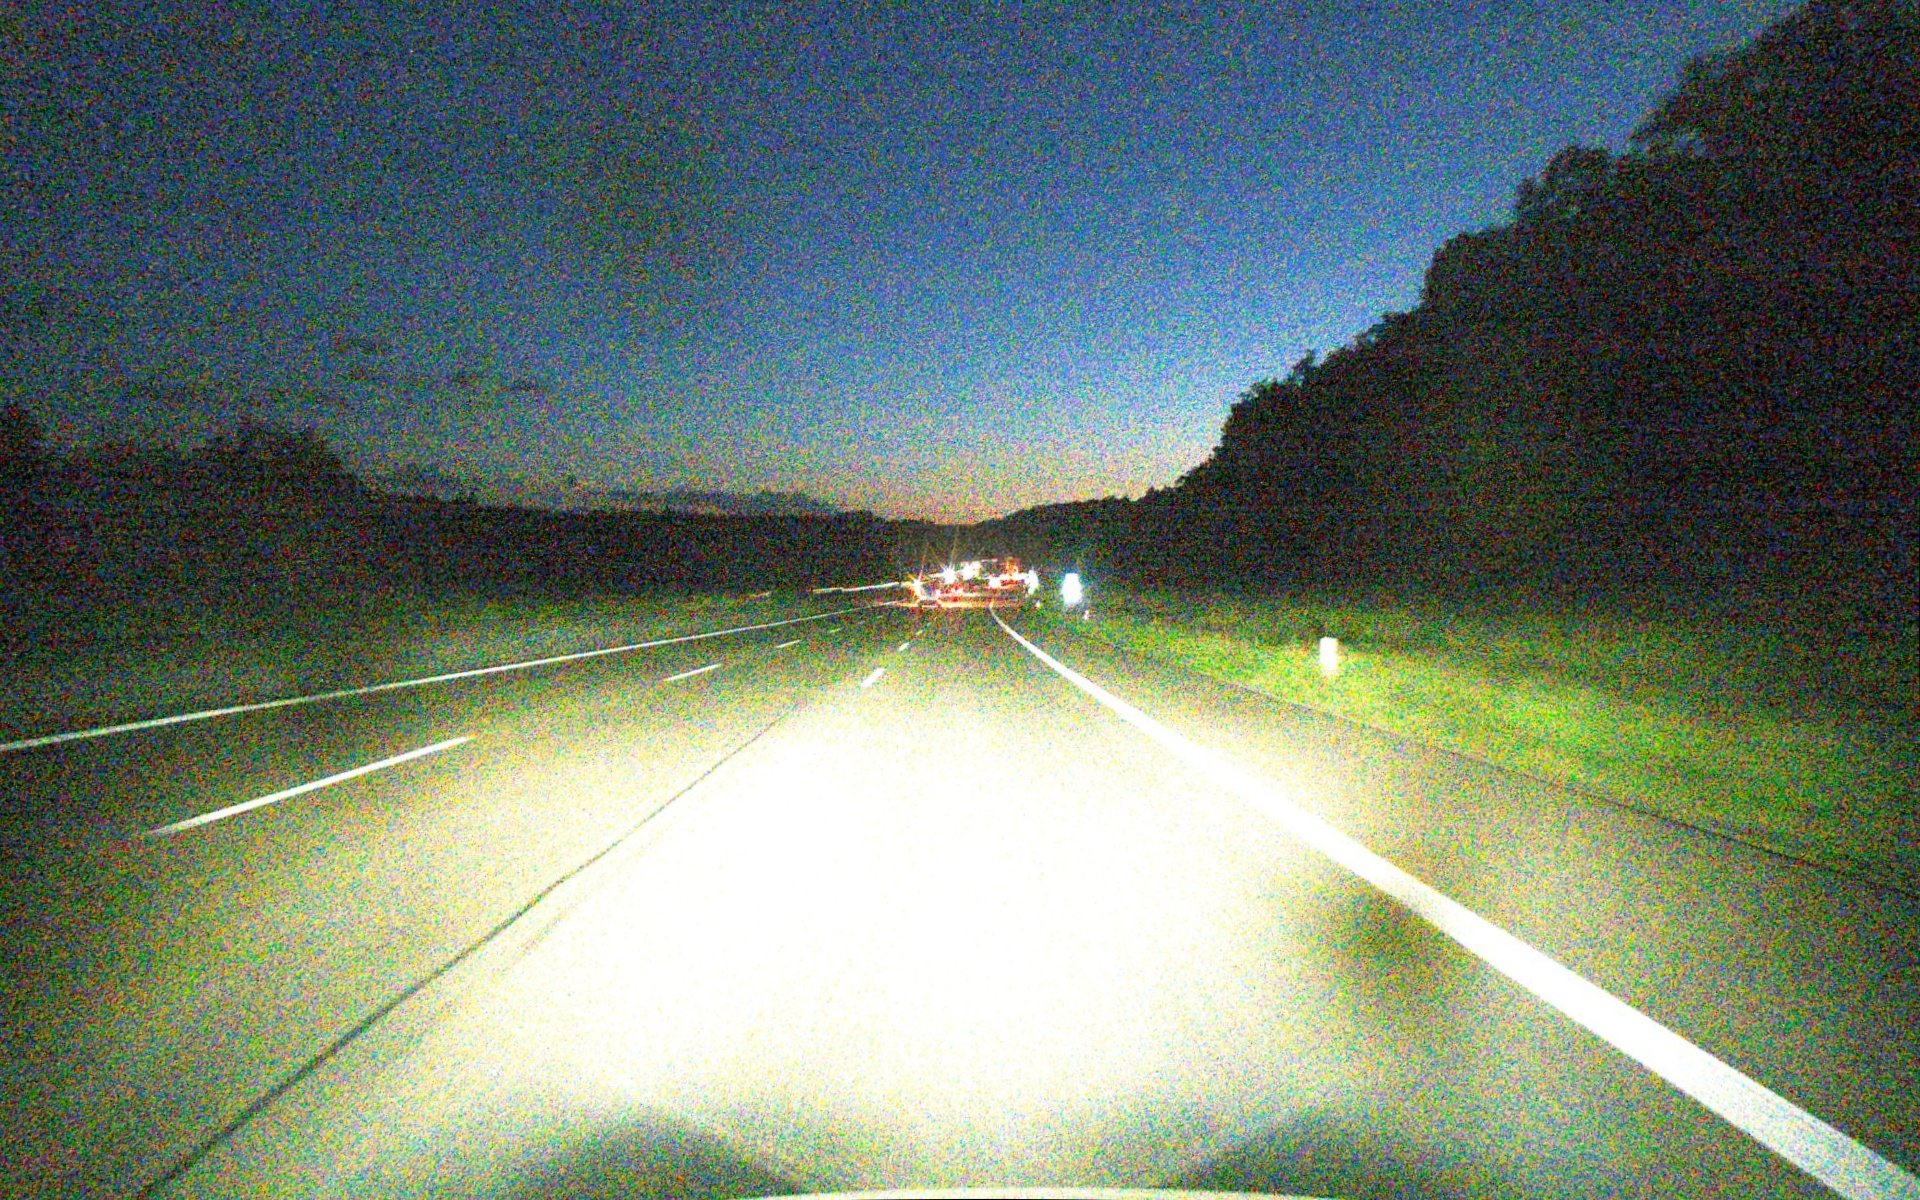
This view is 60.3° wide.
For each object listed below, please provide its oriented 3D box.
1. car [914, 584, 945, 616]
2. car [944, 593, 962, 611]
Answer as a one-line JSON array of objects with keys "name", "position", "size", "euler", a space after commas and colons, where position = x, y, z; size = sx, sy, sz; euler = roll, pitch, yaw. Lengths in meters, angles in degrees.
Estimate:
[{"name": "car", "position": [-2.689, 0.017, 149.052], "size": [2.730, 2.781, 6.298], "euler": [0, -1, -1]}, {"name": "car", "position": [-1.139, 0.325, 261.661], "size": [2.730, 2.781, 6.297], "euler": [0, -1, -1]}]
